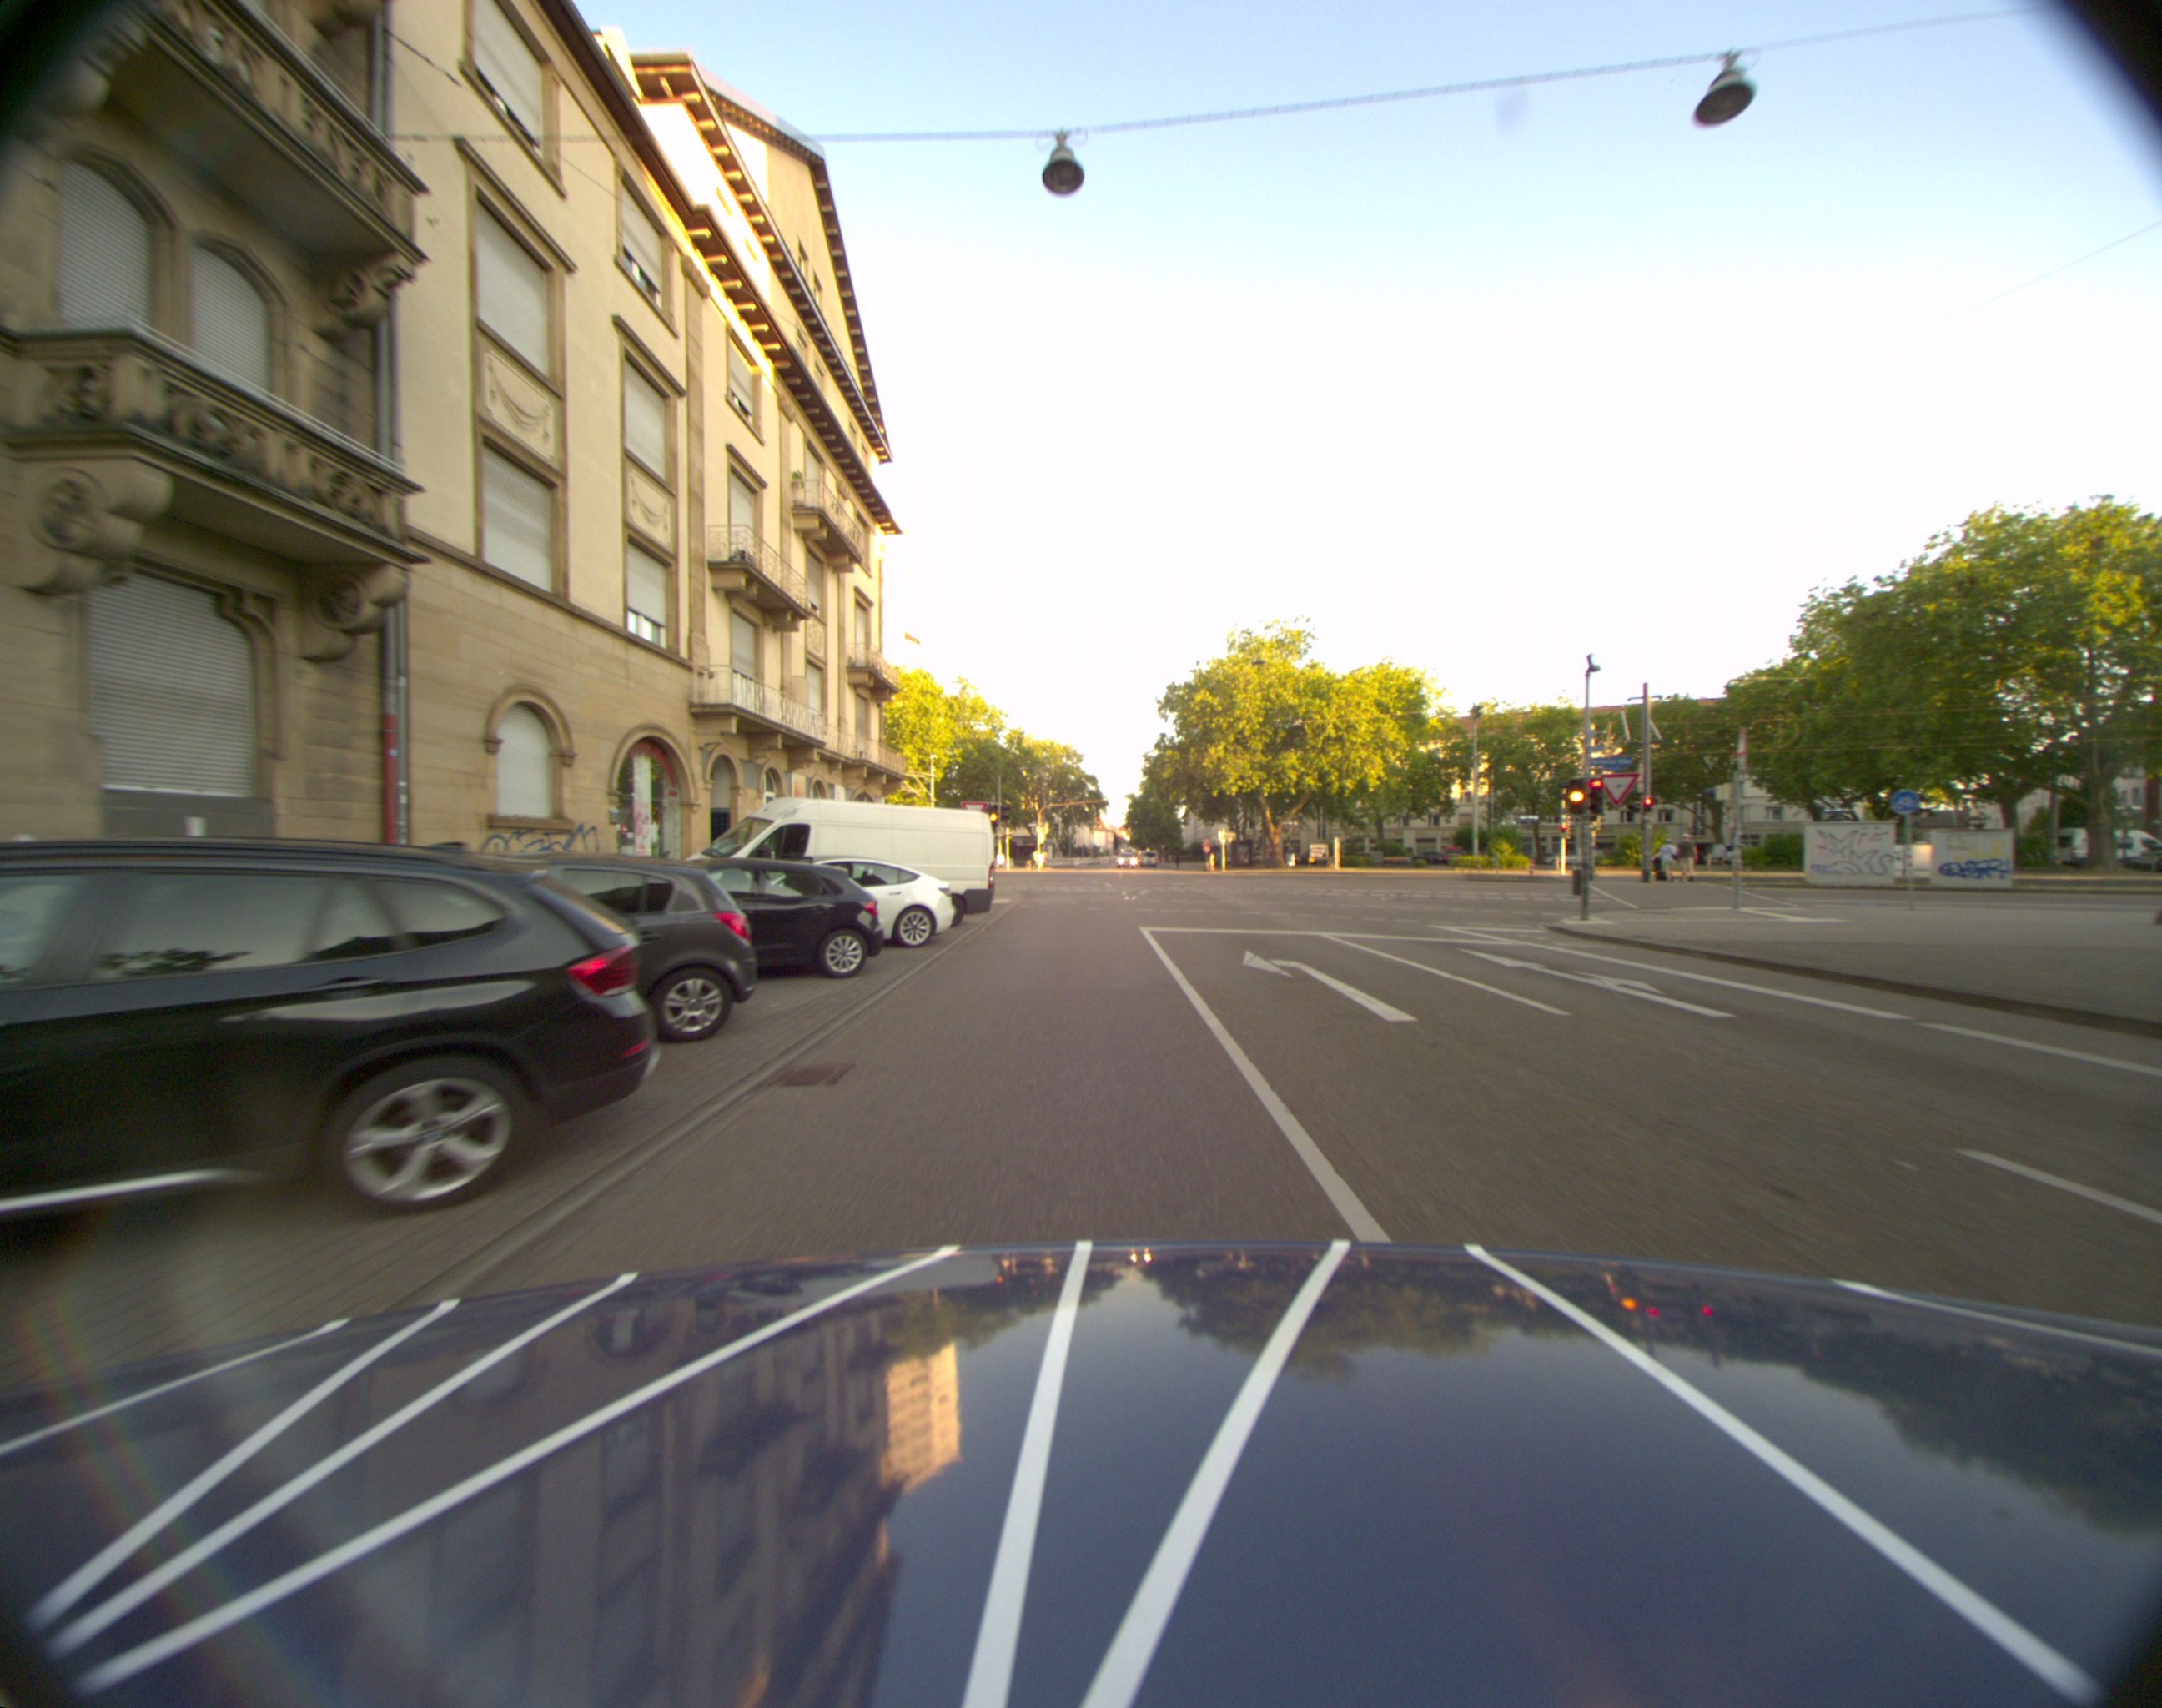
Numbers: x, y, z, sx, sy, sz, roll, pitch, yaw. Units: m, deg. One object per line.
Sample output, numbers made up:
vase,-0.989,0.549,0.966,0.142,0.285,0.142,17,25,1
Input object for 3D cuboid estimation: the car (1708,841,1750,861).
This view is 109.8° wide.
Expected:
car,59.079,-0.282,69.340,1.995,1.826,4.325,0,0,28

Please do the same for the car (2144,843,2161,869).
car,61.528,0.096,41.285,3.989,1.474,1.757,0,1,32

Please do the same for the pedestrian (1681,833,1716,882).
pedestrian,23.372,0.123,28.787,0.709,1.836,1.161,0,1,21

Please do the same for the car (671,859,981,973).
car,-3.978,0.846,12.135,4.263,1.445,1.994,1,1,-37

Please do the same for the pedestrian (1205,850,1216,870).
pedestrian,10.743,0.491,62.952,0.745,1.619,0.660,0,1,18

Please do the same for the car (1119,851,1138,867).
car,4.733,0.444,75.979,1.840,1.549,4.001,0,0,4

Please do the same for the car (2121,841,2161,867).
car,62.840,-0.008,43.224,3.989,1.474,1.757,0,1,32

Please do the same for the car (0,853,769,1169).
car,-4.654,0.832,5.691,3.925,1.536,1.712,1,2,-40

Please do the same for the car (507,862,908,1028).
car,-4.297,0.886,8.992,3.925,1.438,1.869,1,2,-39

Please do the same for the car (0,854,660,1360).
car,-4.195,0.831,3.093,4.107,1.598,1.811,1,1,-37

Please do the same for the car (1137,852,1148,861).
car,11.057,0.442,136.823,1.827,1.565,4.001,-1,1,5

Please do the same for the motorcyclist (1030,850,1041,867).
motorcyclist,-4.072,0.413,68.066,0.830,1.511,0.621,-1,1,-24

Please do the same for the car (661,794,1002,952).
car,-4.649,0.279,14.857,5.897,2.537,2.189,0,2,-40

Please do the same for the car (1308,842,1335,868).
car,18.662,0.071,59.050,1.865,2.002,3.815,0,1,16

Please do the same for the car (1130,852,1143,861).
car,8.880,0.414,121.101,1.997,1.451,4.002,0,0,6

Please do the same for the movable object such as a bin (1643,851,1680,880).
movable object such as a bin,23.074,0.435,30.217,0.860,1.113,1.139,0,1,21

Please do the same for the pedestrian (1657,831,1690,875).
pedestrian,22.689,-0.040,29.116,0.718,1.625,1.008,0,1,21

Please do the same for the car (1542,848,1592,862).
car,50.321,0.094,78.752,3.991,1.410,1.812,0,1,20

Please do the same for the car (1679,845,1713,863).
car,62.883,-0.013,77.705,1.995,1.729,4.007,0,1,29

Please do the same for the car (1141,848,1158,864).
car,8.324,0.244,92.882,1.991,1.945,4.597,0,0,4

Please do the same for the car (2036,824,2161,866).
car,65.485,-0.555,48.330,5.565,2.603,2.003,0,1,25

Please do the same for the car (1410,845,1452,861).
car,39.224,-0.105,85.164,3.988,1.696,2.004,0,1,34

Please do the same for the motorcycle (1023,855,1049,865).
motorcycle,-4.033,0.530,68.091,2.288,0.917,0.621,-1,1,-24
